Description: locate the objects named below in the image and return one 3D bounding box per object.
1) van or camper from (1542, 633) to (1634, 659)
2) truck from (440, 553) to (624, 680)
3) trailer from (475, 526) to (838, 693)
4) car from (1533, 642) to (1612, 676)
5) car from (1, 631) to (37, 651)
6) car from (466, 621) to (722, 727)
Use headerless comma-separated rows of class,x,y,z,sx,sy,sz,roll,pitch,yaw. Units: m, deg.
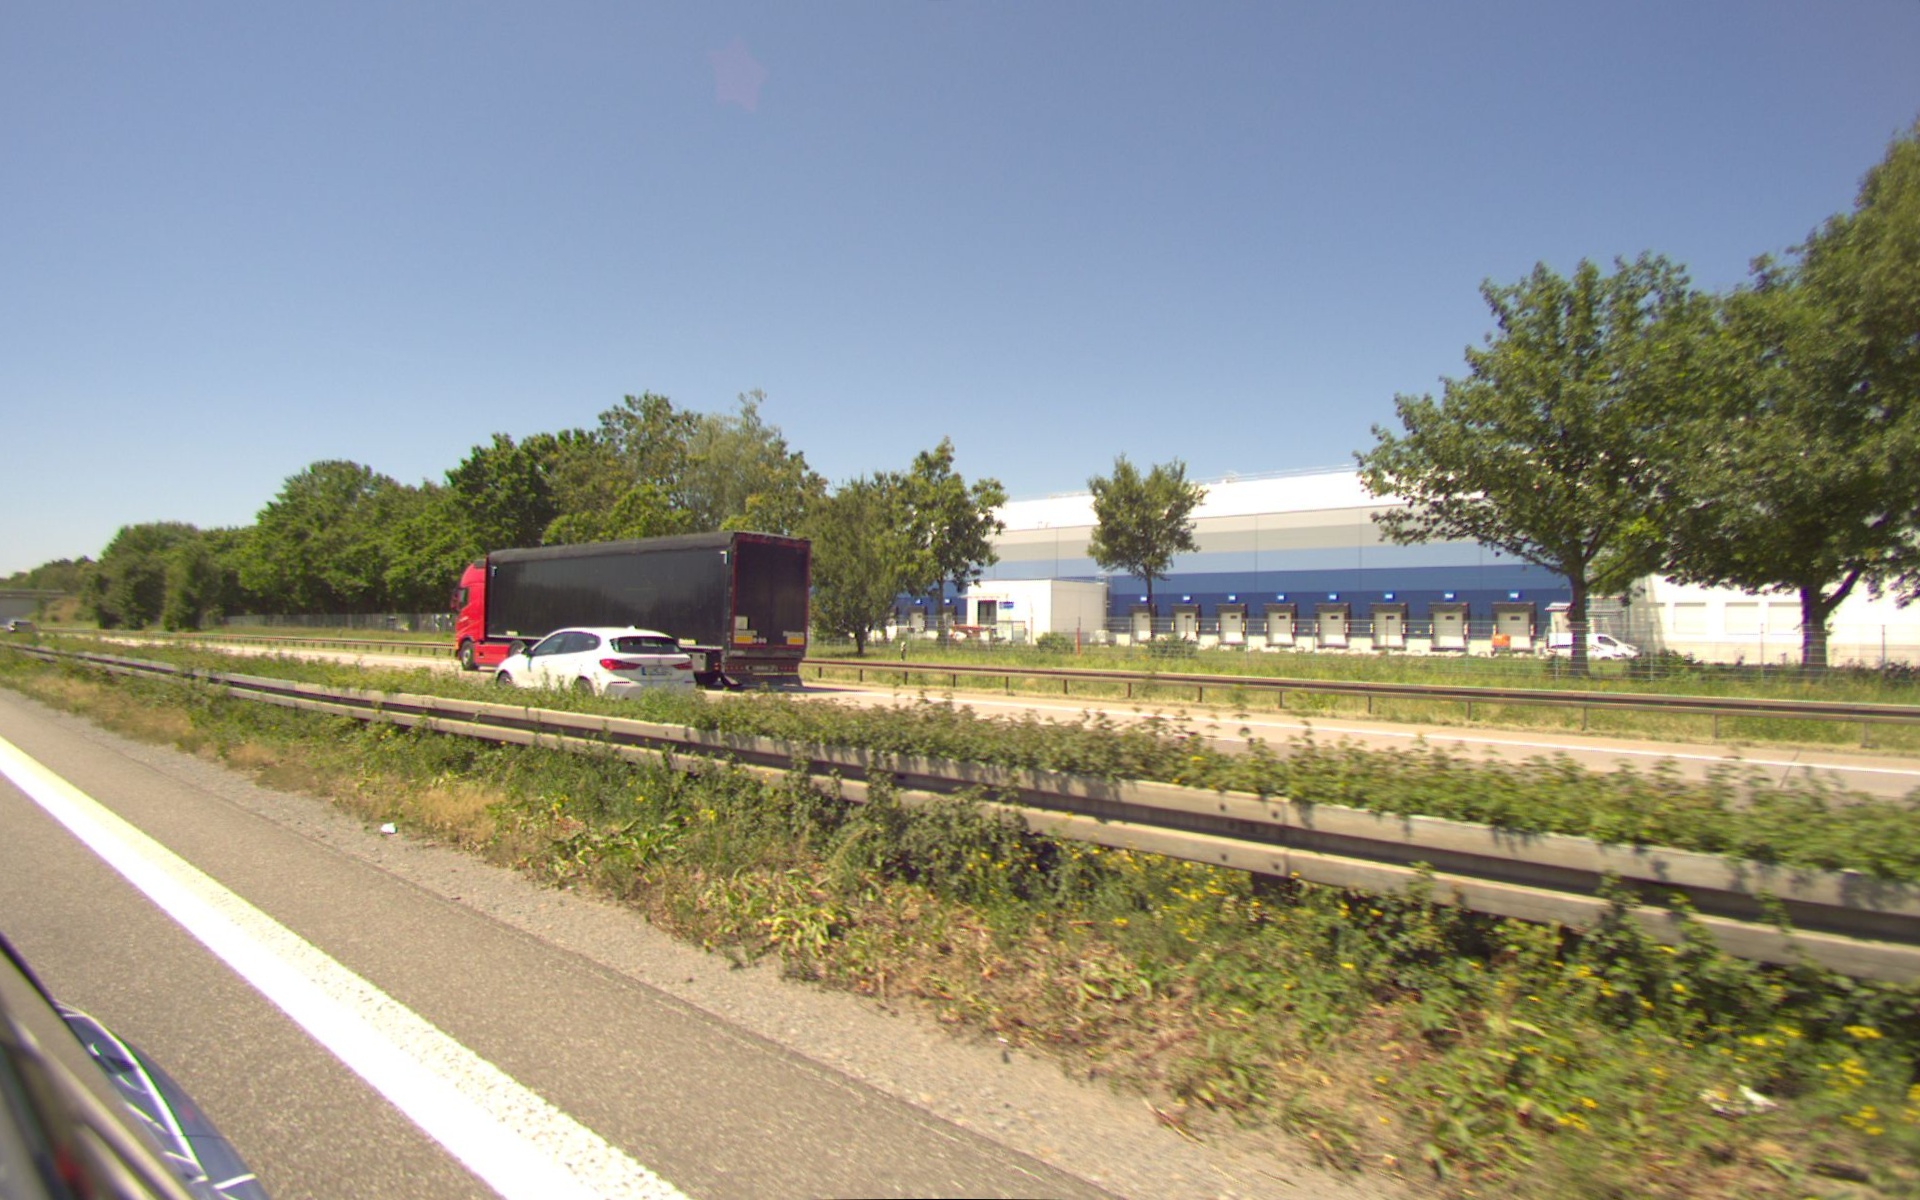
van or camper,42.079,3.065,67.855,5.018,1.665,1.972,-1,-3,42
truck,-14.859,0.648,34.992,6.218,3.961,3.403,-1,-4,41
trailer,-9.750,0.427,30.493,14.197,4.042,3.411,-1,-4,42
car,38.663,3.688,63.922,3.998,2.029,1.973,-1,-3,41
car,-83.783,3.645,90.088,4.812,1.695,1.826,-1,-4,41
car,-6.287,1.157,17.103,4.864,1.540,1.901,-1,-3,41
